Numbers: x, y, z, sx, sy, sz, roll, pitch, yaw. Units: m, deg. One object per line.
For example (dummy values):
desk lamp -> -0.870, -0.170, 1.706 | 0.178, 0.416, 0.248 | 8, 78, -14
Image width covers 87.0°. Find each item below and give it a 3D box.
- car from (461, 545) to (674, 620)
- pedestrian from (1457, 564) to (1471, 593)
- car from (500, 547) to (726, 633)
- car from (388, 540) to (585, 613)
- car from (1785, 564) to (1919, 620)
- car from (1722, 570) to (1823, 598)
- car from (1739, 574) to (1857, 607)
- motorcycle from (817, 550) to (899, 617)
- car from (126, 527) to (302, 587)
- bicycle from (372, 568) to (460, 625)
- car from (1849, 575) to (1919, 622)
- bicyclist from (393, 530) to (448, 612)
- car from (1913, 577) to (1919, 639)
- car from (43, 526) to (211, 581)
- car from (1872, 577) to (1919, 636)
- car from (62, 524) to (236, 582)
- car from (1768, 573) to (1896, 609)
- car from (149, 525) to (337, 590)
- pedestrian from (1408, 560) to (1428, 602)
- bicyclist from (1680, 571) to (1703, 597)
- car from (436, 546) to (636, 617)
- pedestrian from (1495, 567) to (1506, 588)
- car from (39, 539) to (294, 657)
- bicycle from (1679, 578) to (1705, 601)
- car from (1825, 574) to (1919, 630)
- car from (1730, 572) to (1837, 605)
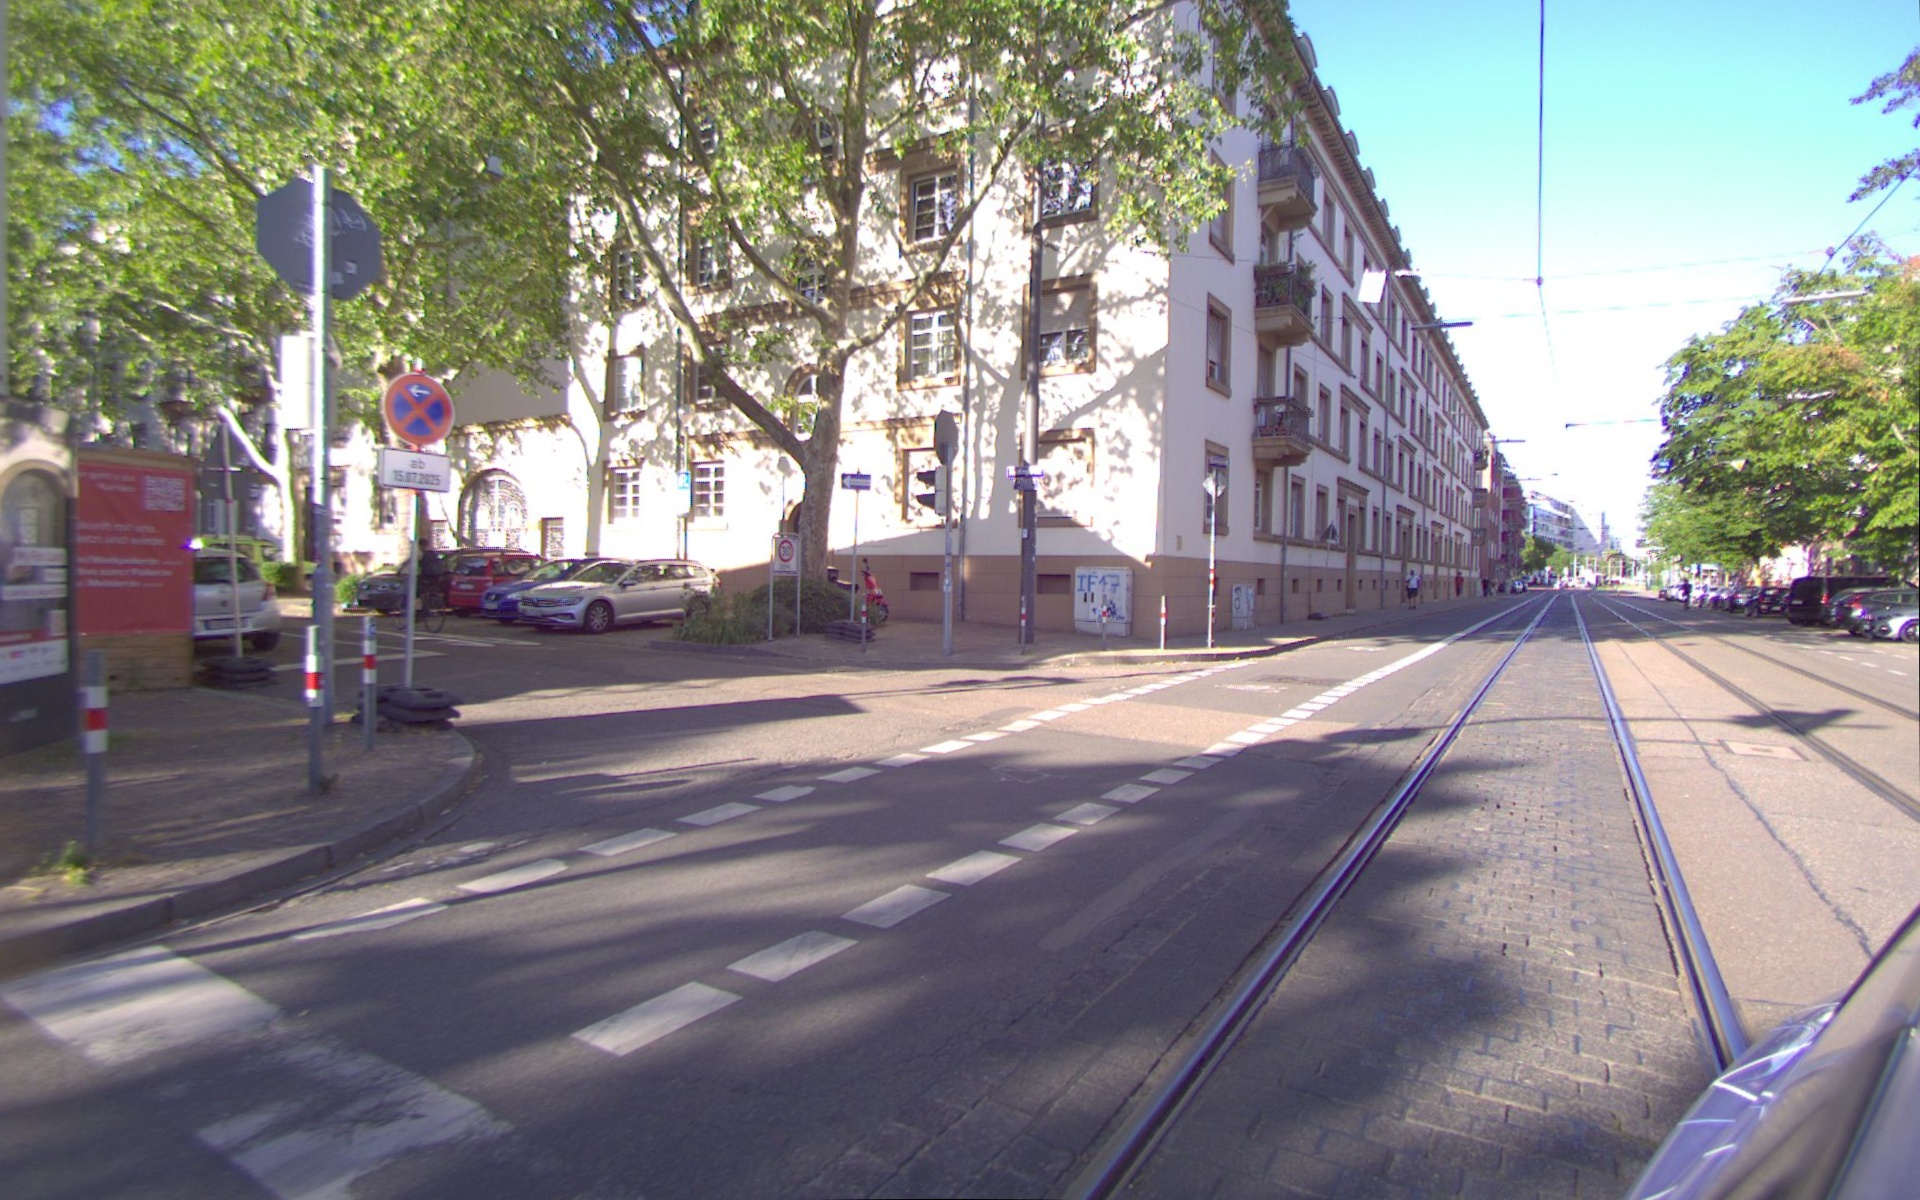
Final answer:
car -> -8.792, -0.444, 23.034 | 1.714, 1.519, 4.428 | 2, 2, 31
pedestrian -> 32.821, -1.393, 65.948 | 0.732, 1.860, 0.689 | 2, 2, 31
car -> -7.092, -0.268, 21.153 | 1.714, 1.590, 4.428 | 2, 2, 31
car -> -12.081, -0.631, 26.120 | 1.714, 1.691, 4.428 | 2, 2, 31
car -> 33.003, -0.312, 37.026 | 4.057, 1.910, 1.890 | -1, 2, 0
car -> 45.653, -0.895, 56.937 | 4.079, 1.506, 1.612 | 0, 2, 17
car -> 40.657, -0.467, 49.194 | 4.079, 1.506, 1.612 | 0, 2, 17
motorcycle -> -2.159, -0.365, 21.288 | 1.749, 1.349, 0.510 | 2, 2, 30
car -> -24.801, -1.429, 33.823 | 1.714, 1.859, 4.429 | 2, 2, 30
bicycle -> -10.462, -0.083, 19.445 | 1.894, 1.029, 0.683 | 2, 1, 34
car -> 33.178, -0.085, 34.616 | 4.057, 1.506, 1.621 | -1, 2, 0
bicyclist -> -10.310, -0.555, 19.347 | 0.664, 1.532, 0.670 | 2, 0, 34
car -> 25.014, 0.217, 23.336 | 4.080, 1.506, 1.612 | 0, 2, 18
car -> -30.259, -1.677, 36.903 | 1.714, 1.859, 4.429 | 2, 2, 30
car -> 27.129, 0.169, 26.803 | 4.095, 1.506, 1.606 | 0, 2, 27
car -> -28.013, -1.611, 35.106 | 1.714, 1.859, 4.429 | 2, 2, 30
car -> 39.009, -0.417, 45.392 | 4.104, 1.506, 1.602 | 1, 3, 32
car -> -21.893, -1.285, 31.092 | 1.714, 1.859, 4.429 | 2, 2, 30
pedestrian -> 20.853, -0.885, 46.076 | 0.732, 1.860, 0.689 | 2, 2, 31
bicyclist -> 41.574, -0.913, 57.511 | 0.895, 1.471, 1.249 | 2, 2, 32
car -> -10.334, -0.498, 25.012 | 1.714, 1.590, 4.428 | 2, 2, 31
pedestrian -> 47.065, -1.971, 88.143 | 0.732, 1.860, 0.689 | 2, 2, 31
car -> -11.836, -0.126, 15.052 | 3.968, 1.512, 1.632 | 2, 5, 31
bicycle -> 41.530, -0.611, 57.461 | 0.895, 1.179, 3.213 | 2, 3, 31
car -> 28.149, 0.026, 29.727 | 4.057, 1.506, 1.621 | -1, 2, 0
car -> 43.981, -0.619, 54.125 | 4.079, 1.682, 1.612 | 0, 2, 17
